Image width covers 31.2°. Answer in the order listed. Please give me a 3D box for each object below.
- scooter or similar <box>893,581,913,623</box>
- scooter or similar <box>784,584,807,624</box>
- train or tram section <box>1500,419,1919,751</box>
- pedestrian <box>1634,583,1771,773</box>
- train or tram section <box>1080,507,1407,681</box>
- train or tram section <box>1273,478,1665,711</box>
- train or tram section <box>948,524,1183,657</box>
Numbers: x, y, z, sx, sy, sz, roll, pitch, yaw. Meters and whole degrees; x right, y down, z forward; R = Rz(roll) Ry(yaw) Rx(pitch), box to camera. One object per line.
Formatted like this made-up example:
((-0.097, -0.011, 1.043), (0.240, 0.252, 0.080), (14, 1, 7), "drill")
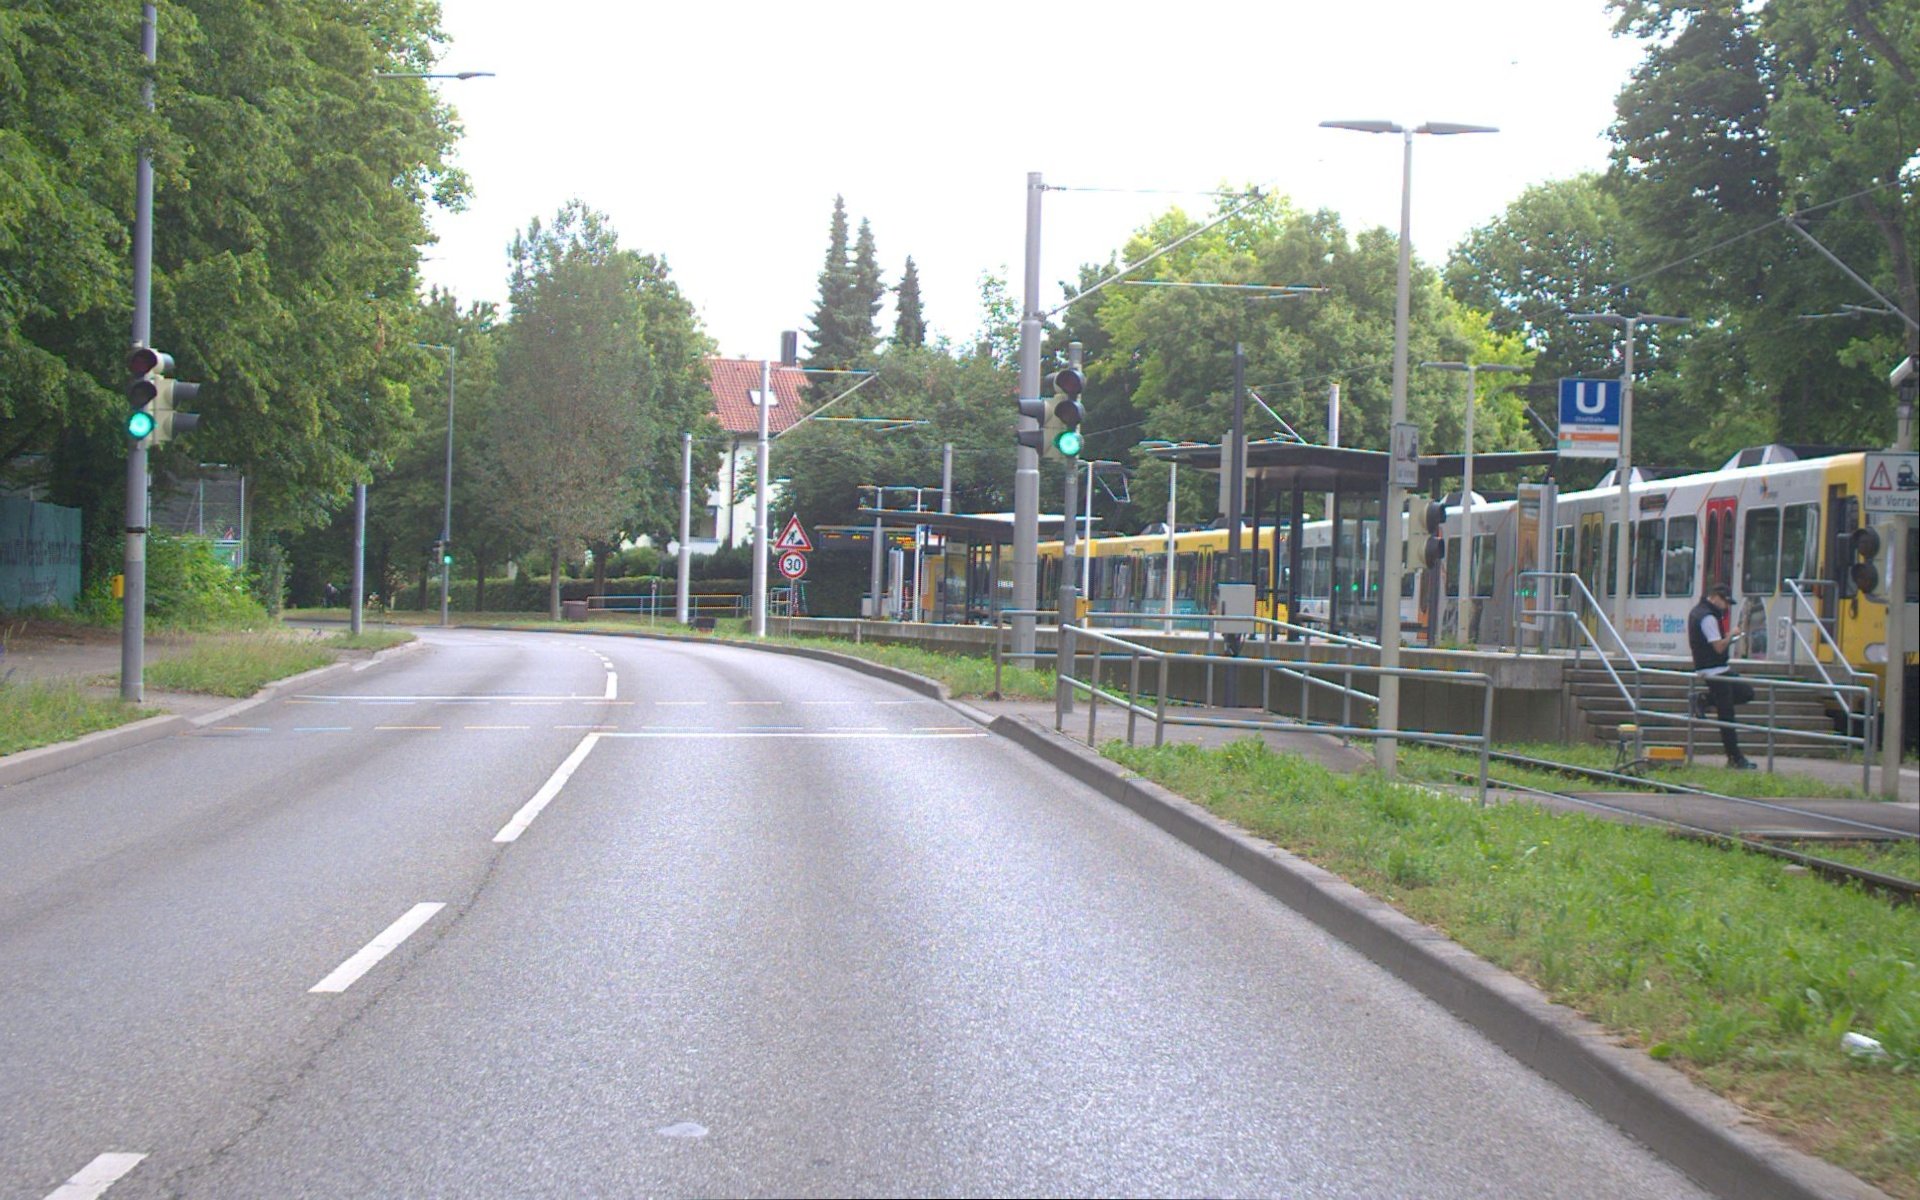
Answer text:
((-1.723, 0.051, 103.589), (0.368, 1.238, 1.146), (1, 0, -11), "scooter or similar")
((-5.407, 0.136, 113.063), (0.429, 1.249, 1.255), (0, -2, -19), "scooter or similar")
((10.976, -0.119, 48.261), (2.813, 3.724, 18.533), (3, 0, -3), "train or tram section")
((7.098, 0.739, 32.897), (0.983, 1.752, 0.730), (2, 1, -13), "pedestrian")
((6.617, -0.172, 85.607), (2.812, 3.724, 19.518), (3, 0, -11), "train or tram section")
((9.400, -0.109, 67.048), (2.813, 3.786, 18.936), (3, 0, -6), "train or tram section")
((2.901, -0.308, 104.900), (2.812, 3.576, 19.518), (3, 0, -11), "train or tram section")
